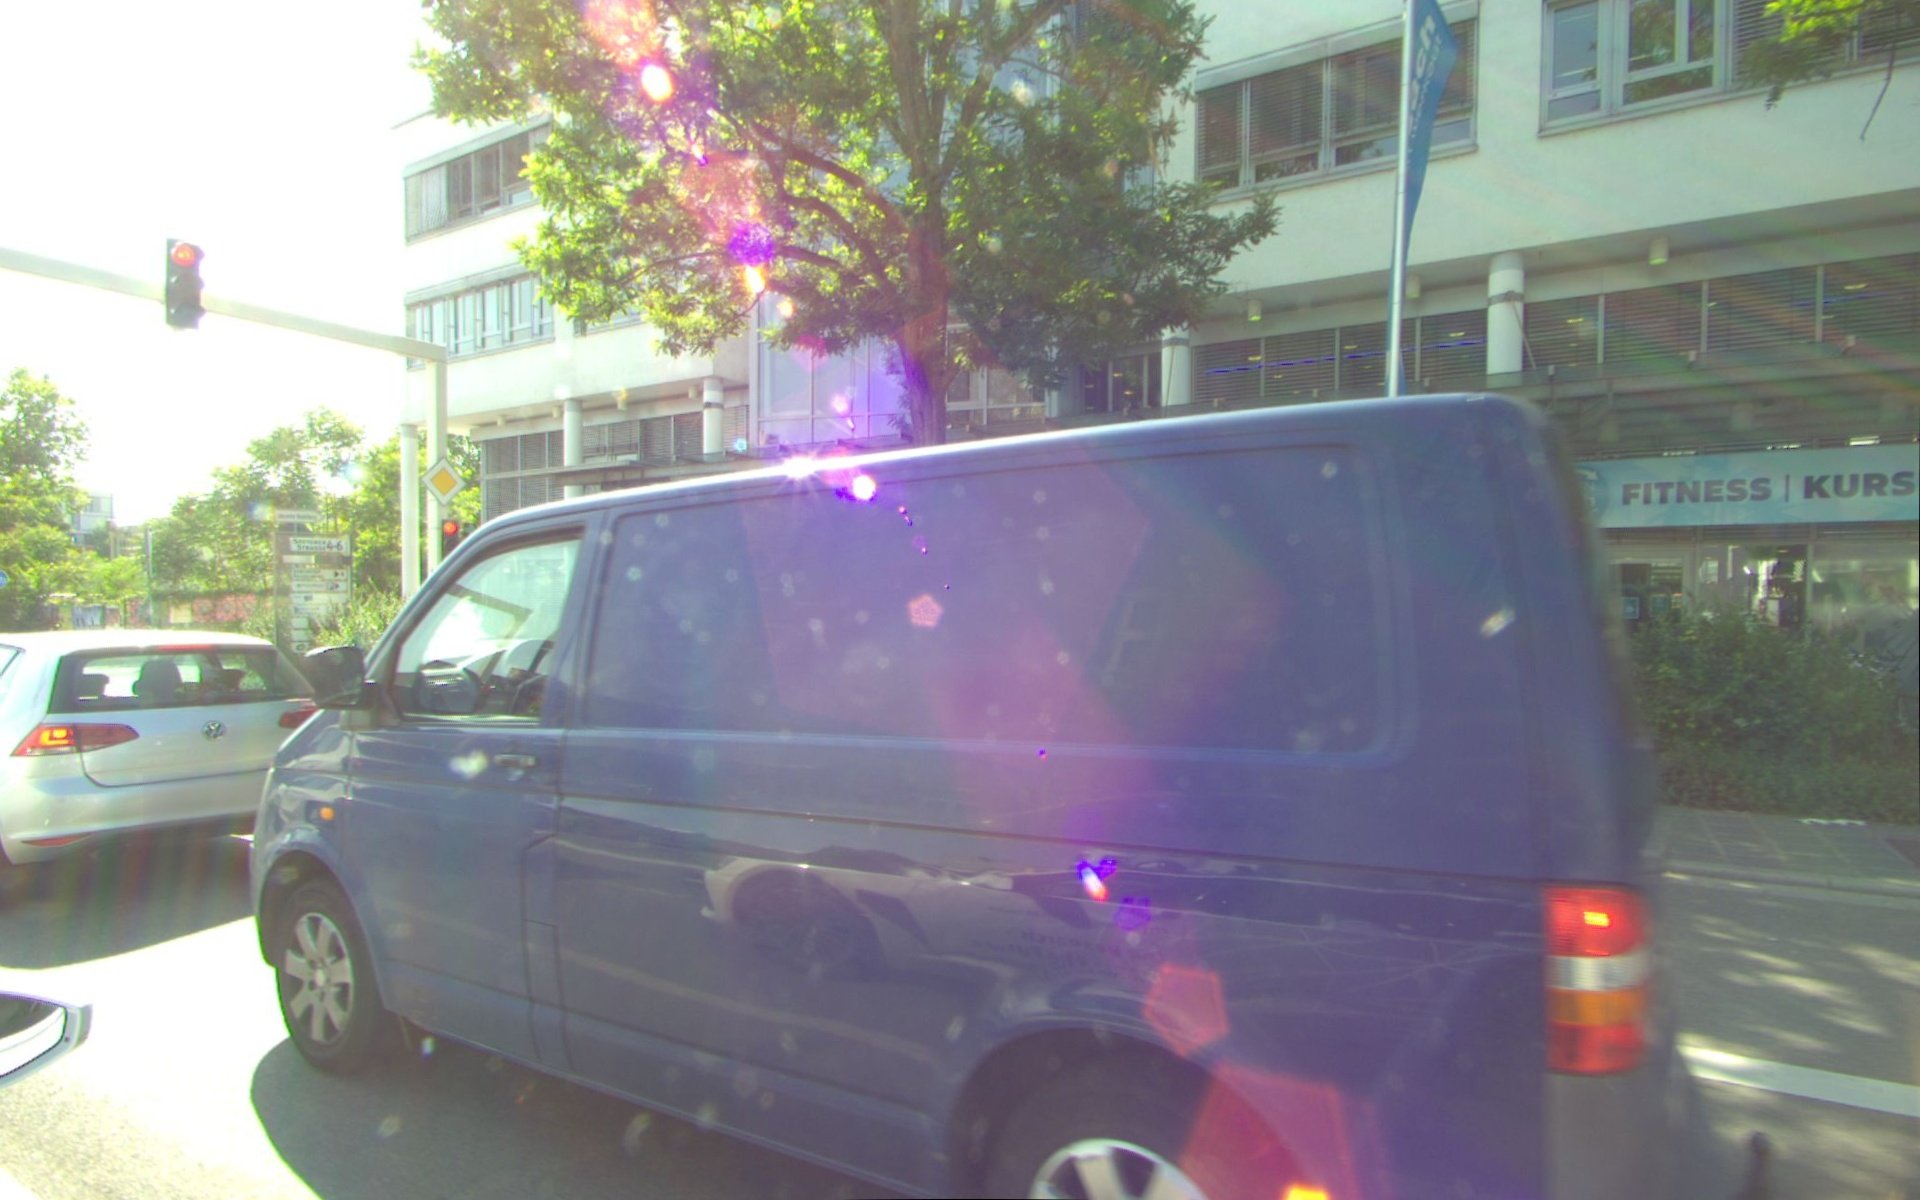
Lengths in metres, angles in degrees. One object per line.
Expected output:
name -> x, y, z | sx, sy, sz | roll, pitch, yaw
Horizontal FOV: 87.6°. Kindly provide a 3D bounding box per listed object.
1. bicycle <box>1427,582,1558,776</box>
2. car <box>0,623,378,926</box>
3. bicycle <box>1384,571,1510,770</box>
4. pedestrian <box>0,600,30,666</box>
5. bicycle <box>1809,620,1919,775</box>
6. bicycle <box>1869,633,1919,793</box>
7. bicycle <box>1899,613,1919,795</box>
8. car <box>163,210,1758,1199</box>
bicycle -> 5.072, 0.714, 9.518 | 1.375, 1.744, 0.407 | 0, 0, -29
car -> -5.879, 0.905, 6.683 | 3.942, 1.448, 1.804 | -1, -1, 32
bicycle -> 4.821, 0.661, 9.893 | 1.375, 1.870, 0.407 | 0, 0, -29
pedestrian -> -30.357, 1.039, 31.760 | 1.023, 2.040, 1.025 | 0, 0, 32
bicycle -> 8.805, 0.880, 9.572 | 1.858, 1.347, 0.503 | 0, 0, -32
bicycle -> 8.988, 0.971, 8.968 | 1.853, 1.347, 0.505 | 0, 0, -22
bicycle -> 7.912, 0.769, 7.698 | 1.665, 1.347, 0.504 | 0, 0, -28
car -> -0.503, 0.542, 3.416 | 4.821, 1.973, 1.989 | -1, 0, 32
